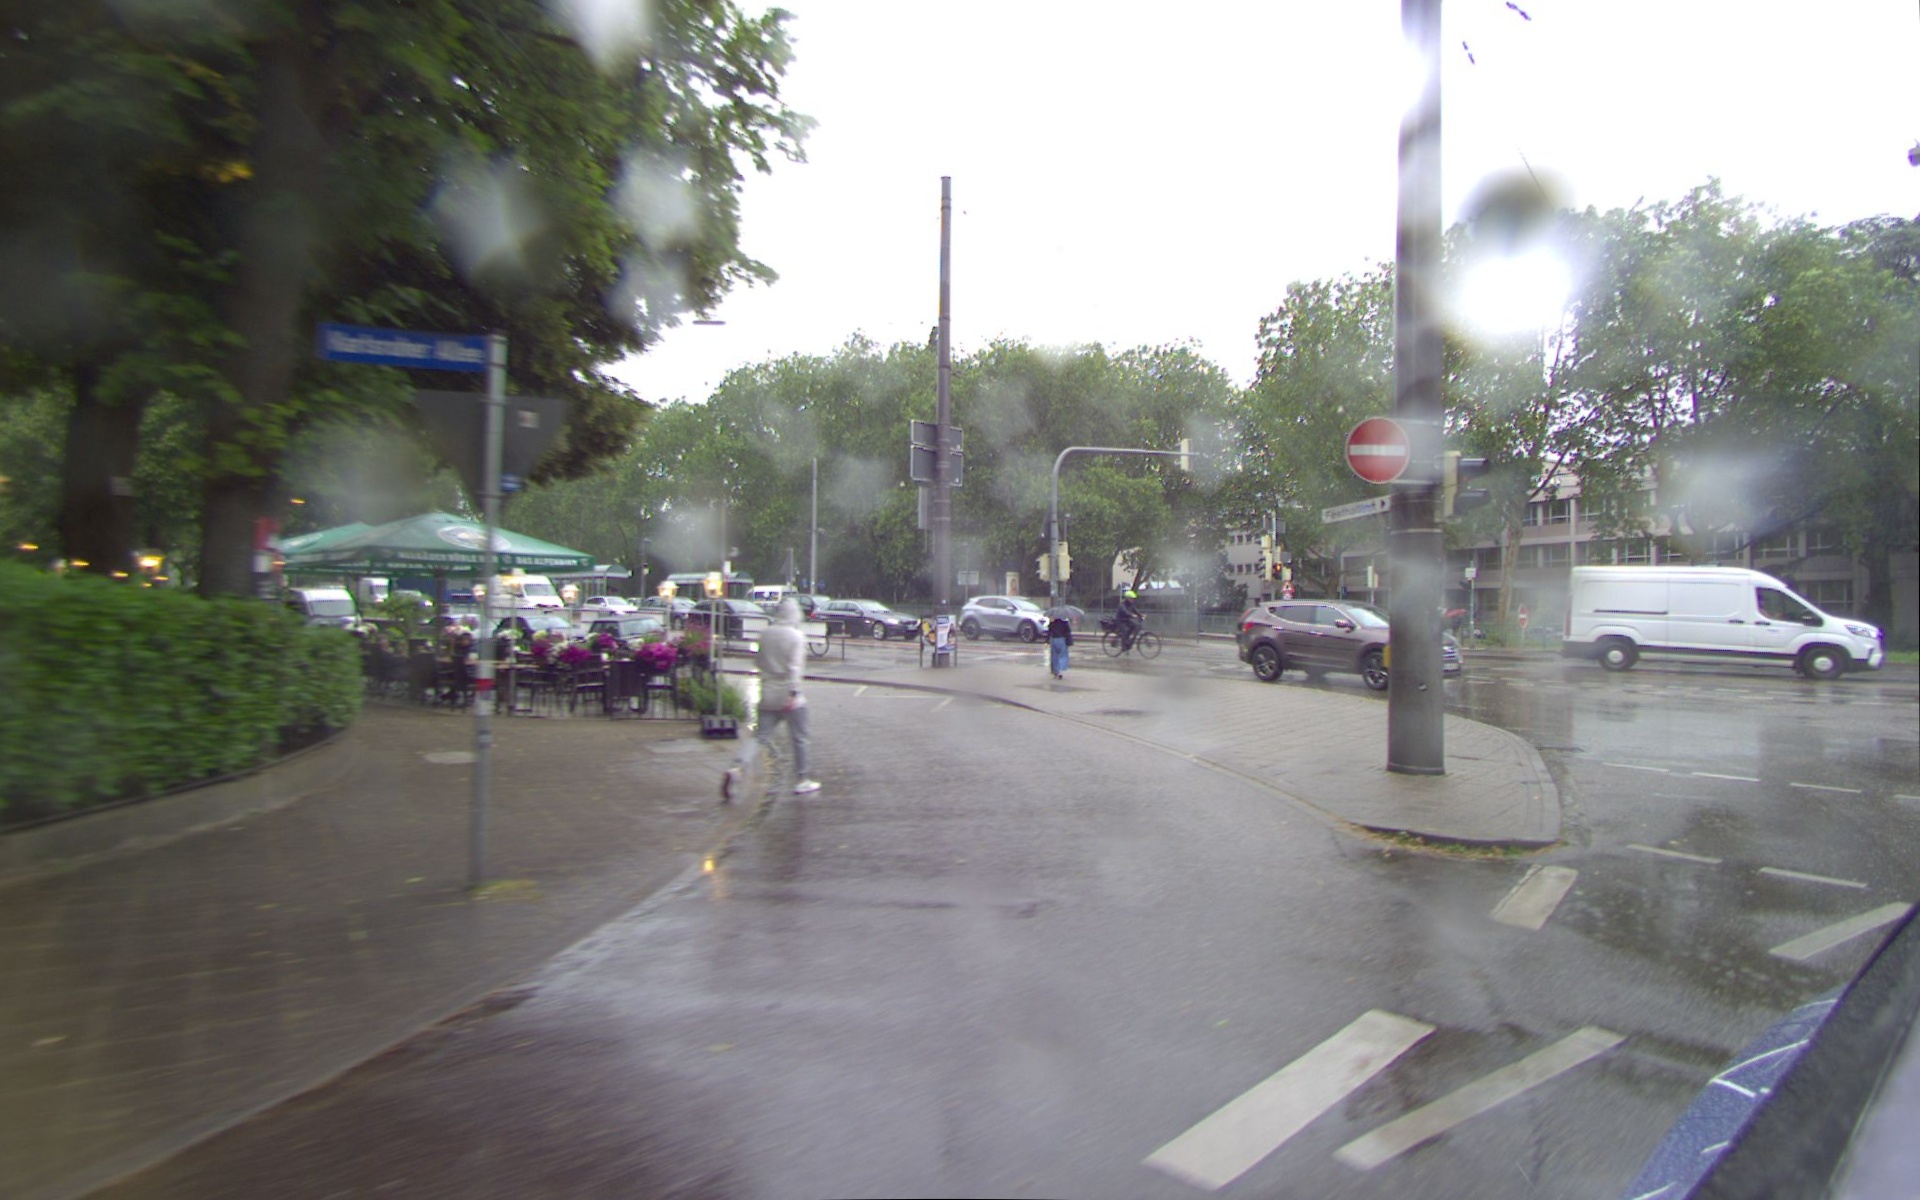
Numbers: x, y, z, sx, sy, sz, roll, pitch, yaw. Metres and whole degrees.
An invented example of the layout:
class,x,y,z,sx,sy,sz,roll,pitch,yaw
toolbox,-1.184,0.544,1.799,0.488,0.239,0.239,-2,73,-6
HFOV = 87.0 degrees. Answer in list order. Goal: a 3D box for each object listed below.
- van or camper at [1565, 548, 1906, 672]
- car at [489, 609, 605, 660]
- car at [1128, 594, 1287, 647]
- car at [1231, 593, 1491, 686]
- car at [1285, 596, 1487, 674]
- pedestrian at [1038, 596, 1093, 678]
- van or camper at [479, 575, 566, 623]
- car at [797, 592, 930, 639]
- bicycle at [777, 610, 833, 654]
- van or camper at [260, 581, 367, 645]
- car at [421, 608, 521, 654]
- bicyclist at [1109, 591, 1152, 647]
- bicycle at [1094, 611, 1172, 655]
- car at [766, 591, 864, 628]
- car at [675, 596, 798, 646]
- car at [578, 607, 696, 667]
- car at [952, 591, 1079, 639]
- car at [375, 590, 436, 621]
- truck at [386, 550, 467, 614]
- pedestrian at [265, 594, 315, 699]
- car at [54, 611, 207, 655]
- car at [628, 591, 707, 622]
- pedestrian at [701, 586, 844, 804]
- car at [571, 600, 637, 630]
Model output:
class,x,y,z,sx,sy,sz,roll,pitch,yaw
van or camper,17.441,0.214,23.191,5.936,2.502,2.153,0,-1,37
car,-13.085,1.037,31.990,4.198,1.482,1.726,-1,0,41
car,7.692,0.618,31.711,4.536,1.532,1.761,-1,0,41
car,7.997,0.714,20.648,1.877,1.667,4.681,0,0,-34
car,10.516,0.806,25.143,4.247,1.763,1.948,-1,0,40
pedestrian,2.238,0.773,21.555,1.086,1.688,0.997,-1,0,3
van or camper,-24.244,-0.034,55.937,5.685,2.531,2.114,-1,0,40
car,-3.673,0.578,37.767,5.317,1.613,1.918,-1,-2,44
bicycle,-4.294,0.865,27.990,1.784,1.183,0.417,-1,1,40
van or camper,-28.288,0.557,44.168,6.069,2.624,2.300,-1,-1,41
car,-17.035,1.046,35.178,4.198,1.488,1.706,-1,0,42
bicyclist,4.692,0.495,27.814,0.802,1.488,0.914,1,2,43
bicycle,4.726,0.873,27.727,1.991,1.101,0.806,0,1,44
car,-6.416,0.415,44.527,4.459,1.532,1.761,-1,0,41
car,-8.180,0.738,36.885,4.670,1.709,1.950,-1,0,40
car,-9.041,0.981,28.221,3.504,1.519,1.626,-1,0,43
car,1.984,0.529,37.104,4.536,1.681,1.761,0,-1,41
car,-34.070,0.321,62.154,3.982,1.780,1.971,1,2,40
truck,-38.152,-1.211,72.247,8.317,4.331,2.383,-1,0,42
pedestrian,-10.896,0.751,16.463,0.387,1.666,0.542,-1,-3,42
car,-29.973,1.151,36.747,1.681,1.488,4.276,0,0,9
car,-13.531,0.307,46.680,4.232,1.375,1.612,-1,0,44
pedestrian,-1.655,0.817,9.114,0.560,1.796,1.194,3,-2,25
car,-20.035,0.829,56.899,4.232,1.655,1.820,-1,0,44
